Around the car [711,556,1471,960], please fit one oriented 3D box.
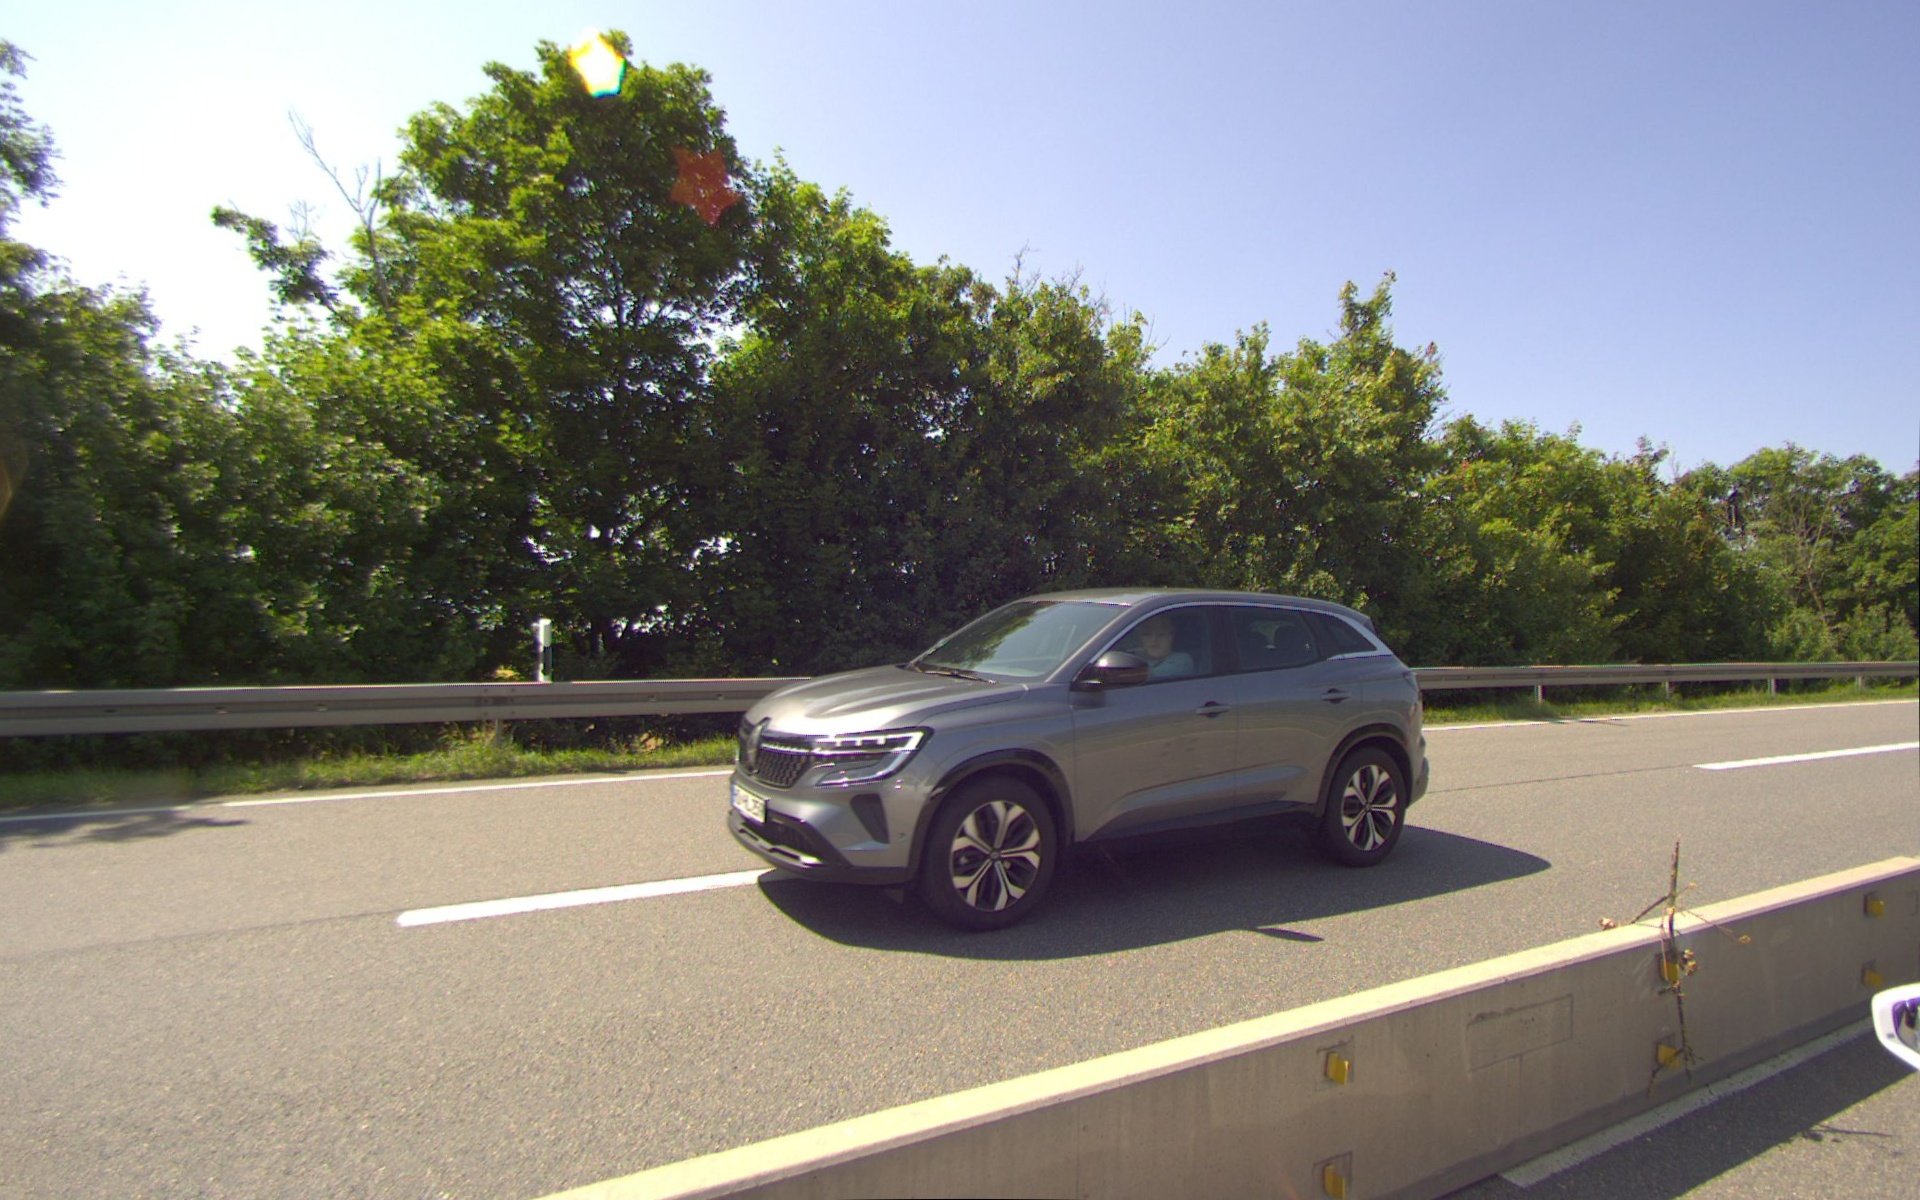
[{"bbox_3d":[0.911,0.701,6.051,4.334,1.660,1.848,2,-1,-31],"label":"car"}]
